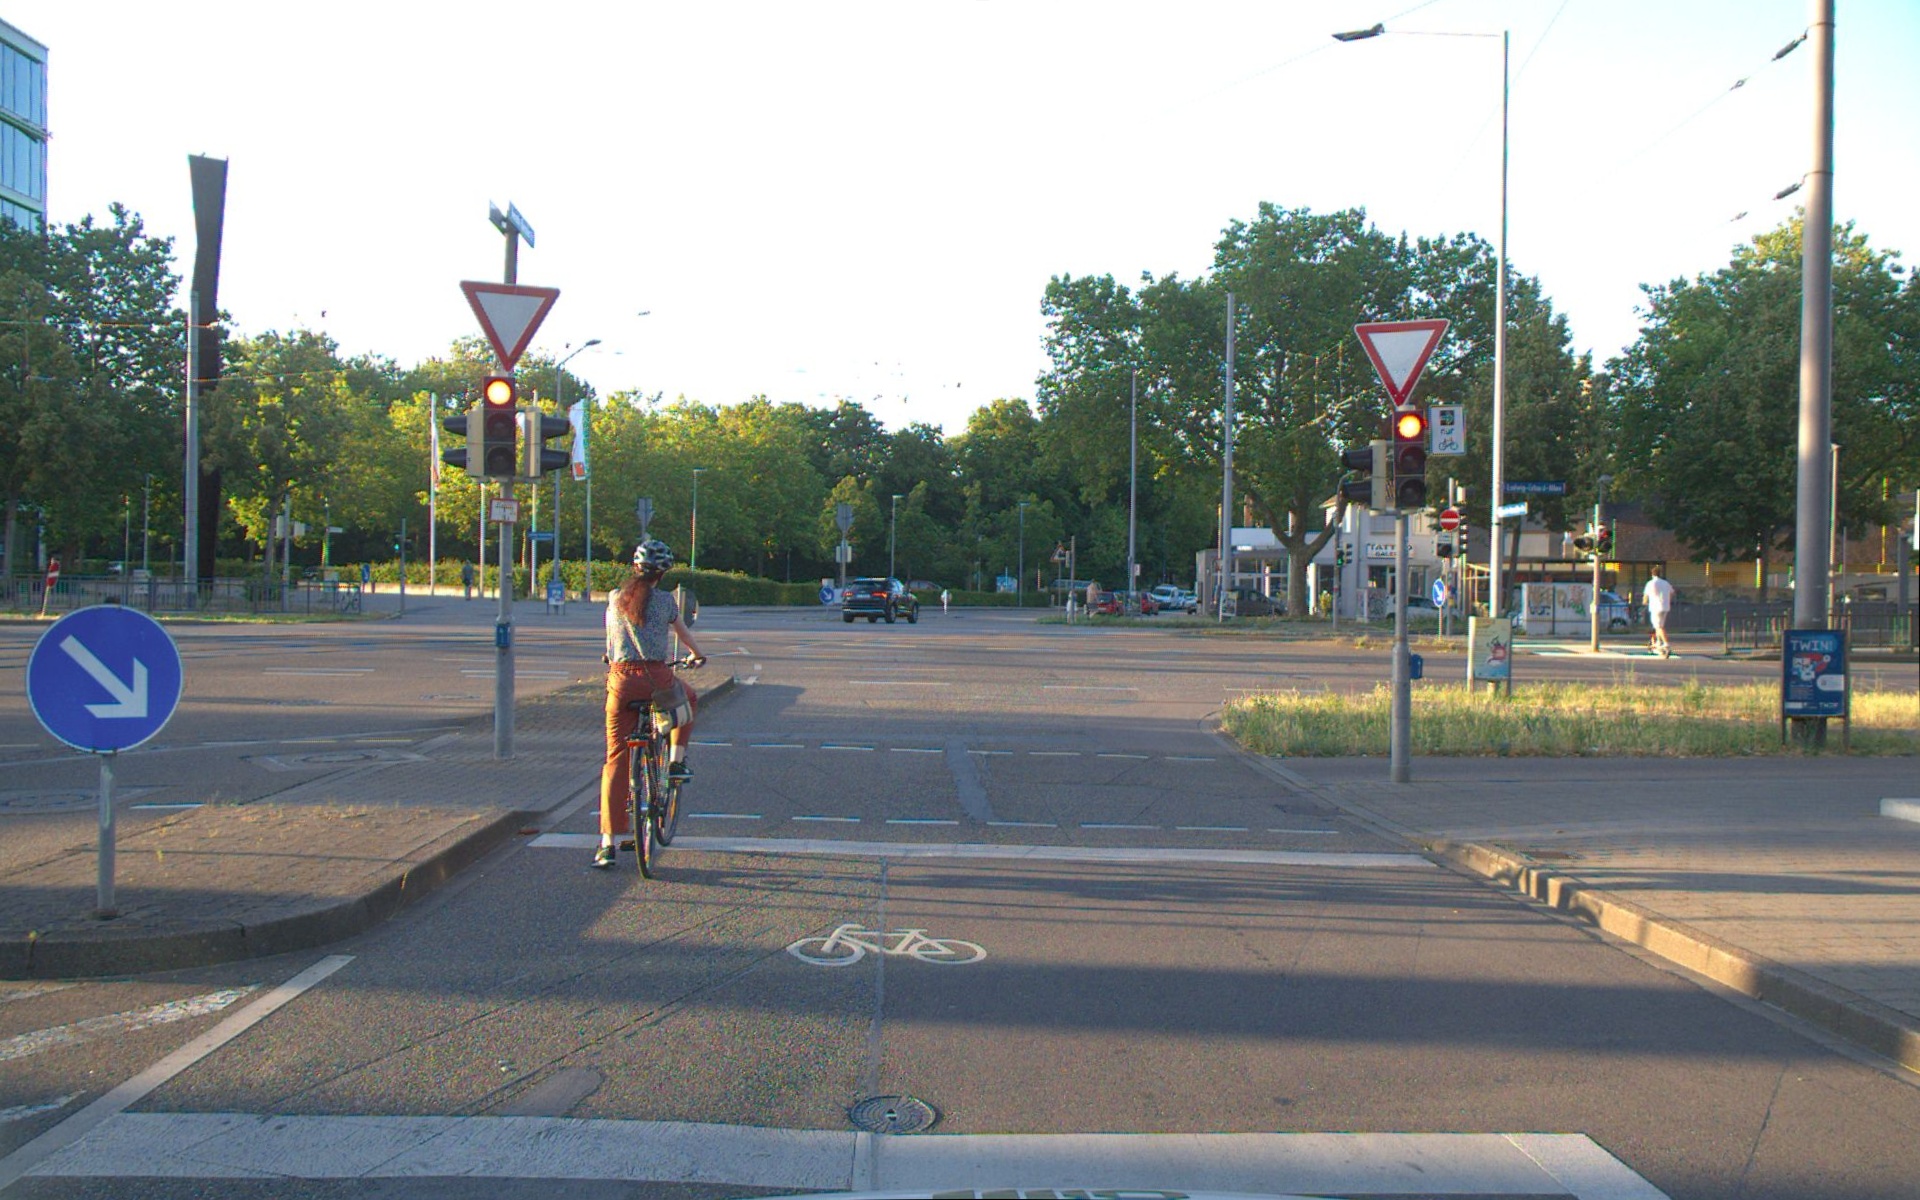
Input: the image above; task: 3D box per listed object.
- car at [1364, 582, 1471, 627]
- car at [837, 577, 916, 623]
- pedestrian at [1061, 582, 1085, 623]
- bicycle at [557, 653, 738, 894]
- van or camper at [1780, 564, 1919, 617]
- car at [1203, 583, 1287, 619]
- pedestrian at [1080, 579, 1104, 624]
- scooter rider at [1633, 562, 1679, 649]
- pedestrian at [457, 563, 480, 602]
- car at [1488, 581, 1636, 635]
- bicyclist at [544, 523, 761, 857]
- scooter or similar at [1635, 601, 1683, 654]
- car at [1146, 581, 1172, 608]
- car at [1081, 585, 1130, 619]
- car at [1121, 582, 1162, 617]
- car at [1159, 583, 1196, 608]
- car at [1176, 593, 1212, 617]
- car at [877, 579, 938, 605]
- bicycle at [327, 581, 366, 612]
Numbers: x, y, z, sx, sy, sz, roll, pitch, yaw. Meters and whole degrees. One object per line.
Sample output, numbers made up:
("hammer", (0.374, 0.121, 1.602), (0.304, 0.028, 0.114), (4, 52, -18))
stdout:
("car", (20.089, 0.177, 72.775), (4.142, 1.878, 2.001), (1, 0, 2))
("car", (-2.940, 0.018, 59.352), (1.718, 1.568, 4.404), (1, -1, 12))
("pedestrian", (4.676, 0.114, 68.257), (0.704, 1.667, 0.897), (1, 0, 23))
("bicycle", (-1.684, 0.891, 9.215), (0.621, 1.086, 2.122), (1, 1, -1))
("van or camper", (43.652, -0.447, 80.348), (6.426, 2.452, 2.265), (1, 0, 3))
("car", (15.317, 0.034, 89.192), (4.285, 1.867, 1.950), (1, 1, 4))
("pedestrian", (5.390, 0.056, 67.306), (0.704, 1.785, 0.897), (1, 0, 23))
("scooter rider", (15.292, 0.113, 36.352), (0.688, 1.887, 0.669), (1, -1, -1))
("pedestrian", (-22.931, -0.802, 77.132), (0.884, 1.785, 0.715), (1, 0, -26))
("car", (20.809, 0.261, 57.233), (4.445, 1.758, 1.860), (1, 0, -5))
("bicyclist", (-1.682, 0.471, 9.228), (1.011, 1.748, 0.996), (1, 0, -1))
("scooter or similar", (15.300, 0.592, 36.213), (0.499, 1.109, 1.243), (1, 0, -1))
("car", (15.815, -0.451, 131.417), (1.951, 2.049, 4.003), (1, 1, 6))
("car", (8.448, 0.095, 95.824), (1.829, 1.907, 3.875), (1, 1, 20))
("car", (11.375, -0.037, 103.483), (1.875, 2.083, 4.002), (1, 1, 17))
("car", (17.899, -0.396, 136.063), (1.953, 2.049, 3.998), (1, 1, 24))
("car", (16.364, 0.343, 115.657), (1.875, 1.630, 4.002), (1, 1, 17))
("car", (-3.431, -0.534, 109.462), (3.905, 1.588, 2.000), (1, 0, 1))
("bicycle", (-23.117, -0.148, 62.379), (0.685, 1.156, 2.391), (1, 1, -3))
